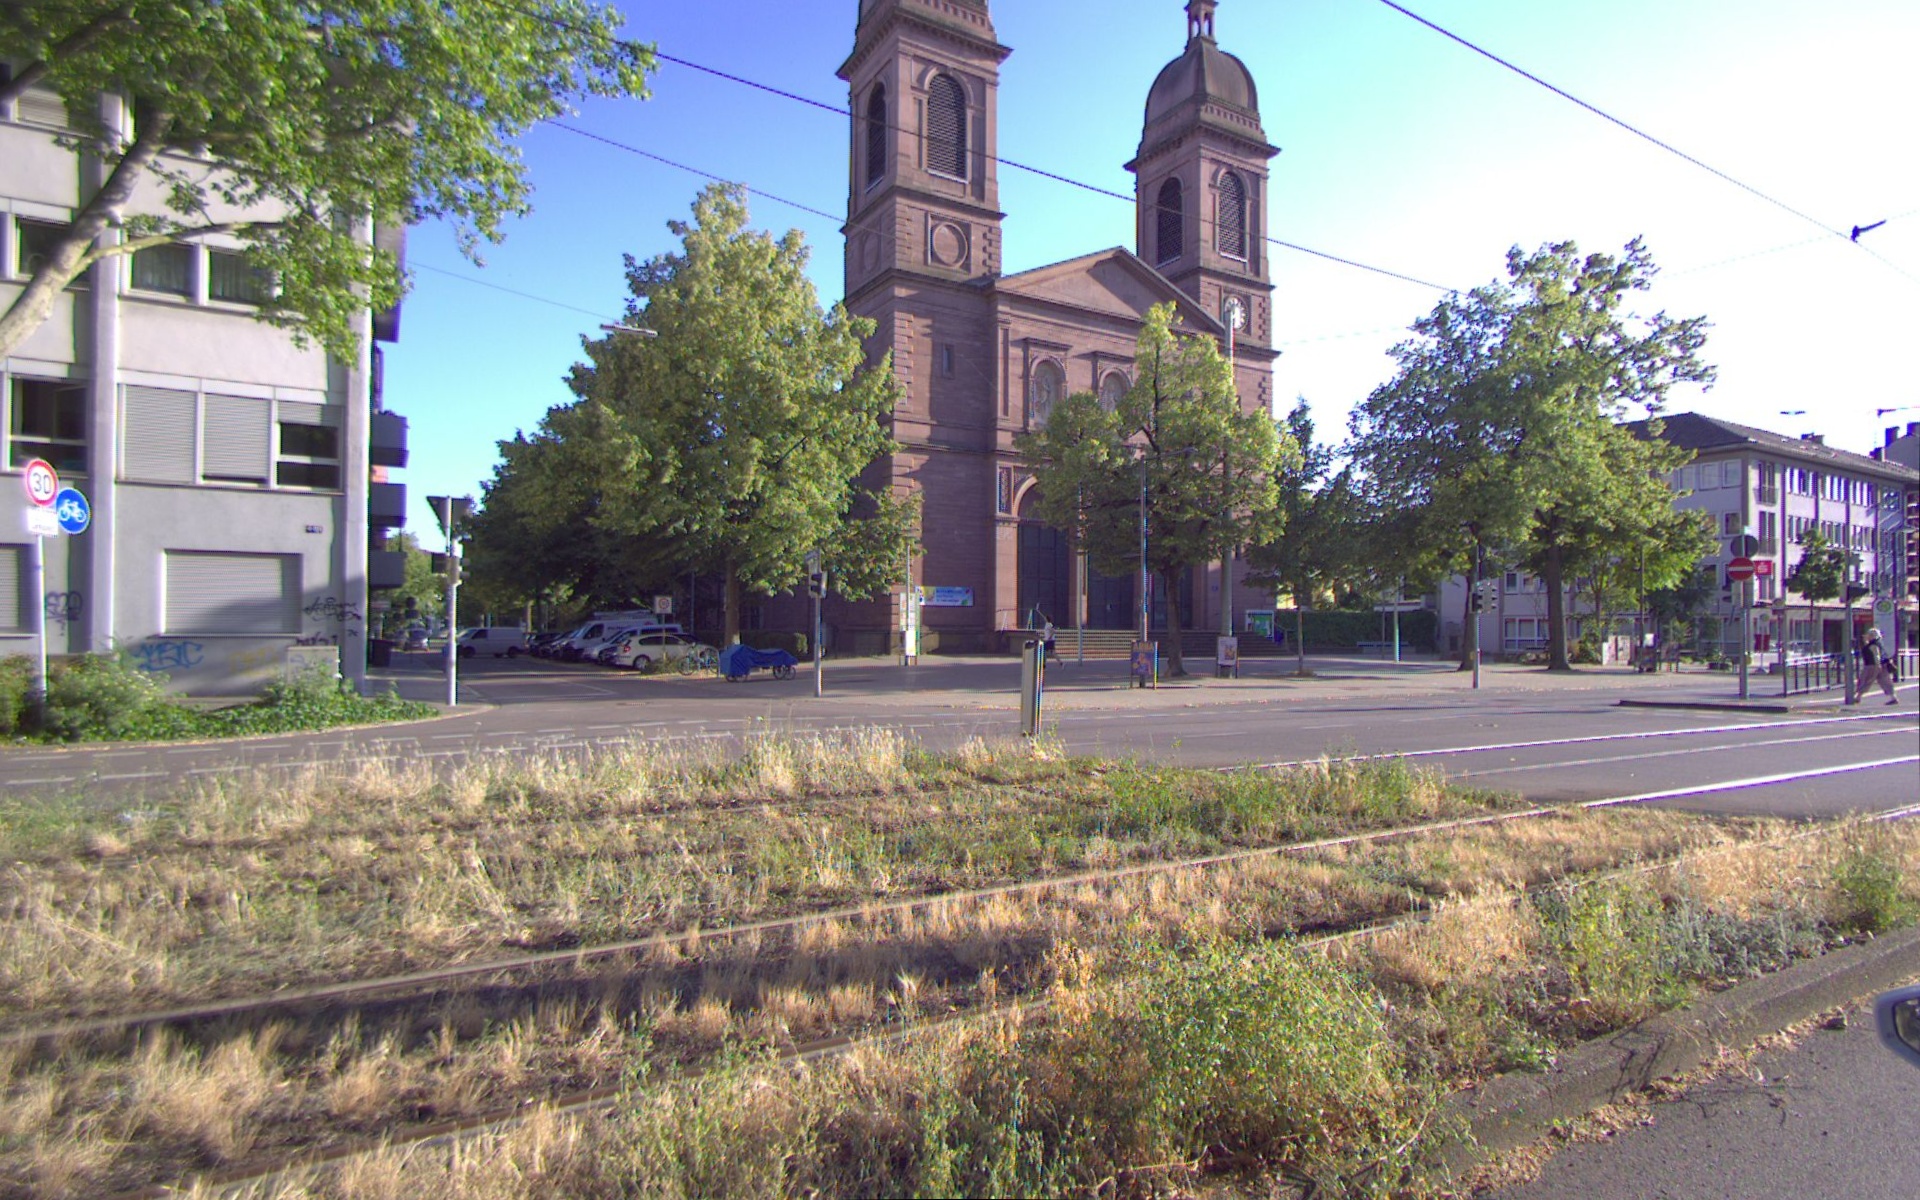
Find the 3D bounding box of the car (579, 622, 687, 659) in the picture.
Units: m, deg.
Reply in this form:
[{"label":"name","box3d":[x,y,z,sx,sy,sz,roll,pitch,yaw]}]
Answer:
[{"label":"car","box3d":[-15.679,1.922,48.219,4.655,1.684,1.984,1,-2,-30]}]

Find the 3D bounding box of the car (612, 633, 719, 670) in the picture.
[{"label":"car","box3d":[-12.228,2.115,41.724,3.953,1.416,1.802,0,-1,-30]}]

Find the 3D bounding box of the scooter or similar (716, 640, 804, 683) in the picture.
[{"label":"scooter or similar","box3d":[-6.111,1.864,30.708,2.419,1.141,1.088,-1,0,-30]}]

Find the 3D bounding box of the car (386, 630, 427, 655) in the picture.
[{"label":"car","box3d":[-47.047,3.585,85.353,1.985,2.040,5.360,2,-2,-41]}]

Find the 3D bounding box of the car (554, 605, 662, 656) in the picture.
[{"label":"car","box3d":[-18.503,1.624,52.851,5.054,2.551,1.984,1,-2,-30]}]

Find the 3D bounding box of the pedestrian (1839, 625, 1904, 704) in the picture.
[{"label":"pedestrian","box3d":[21.233,1.492,23.408,0.822,1.783,0.915,2,-2,-29]}]

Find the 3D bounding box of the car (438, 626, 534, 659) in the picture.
[{"label":"car","box3d":[-30.538,2.695,64.930,1.966,2.040,5.412,-1,-2,32]}]

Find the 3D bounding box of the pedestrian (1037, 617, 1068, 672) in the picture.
[{"label":"pedestrian","box3d":[3.027,1.442,32.859,0.684,1.789,0.733,1,-1,-31]}]

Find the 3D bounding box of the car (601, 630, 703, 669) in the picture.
[{"label":"car","box3d":[-13.474,2.150,43.966,3.953,1.639,1.876,1,-2,-30]}]
